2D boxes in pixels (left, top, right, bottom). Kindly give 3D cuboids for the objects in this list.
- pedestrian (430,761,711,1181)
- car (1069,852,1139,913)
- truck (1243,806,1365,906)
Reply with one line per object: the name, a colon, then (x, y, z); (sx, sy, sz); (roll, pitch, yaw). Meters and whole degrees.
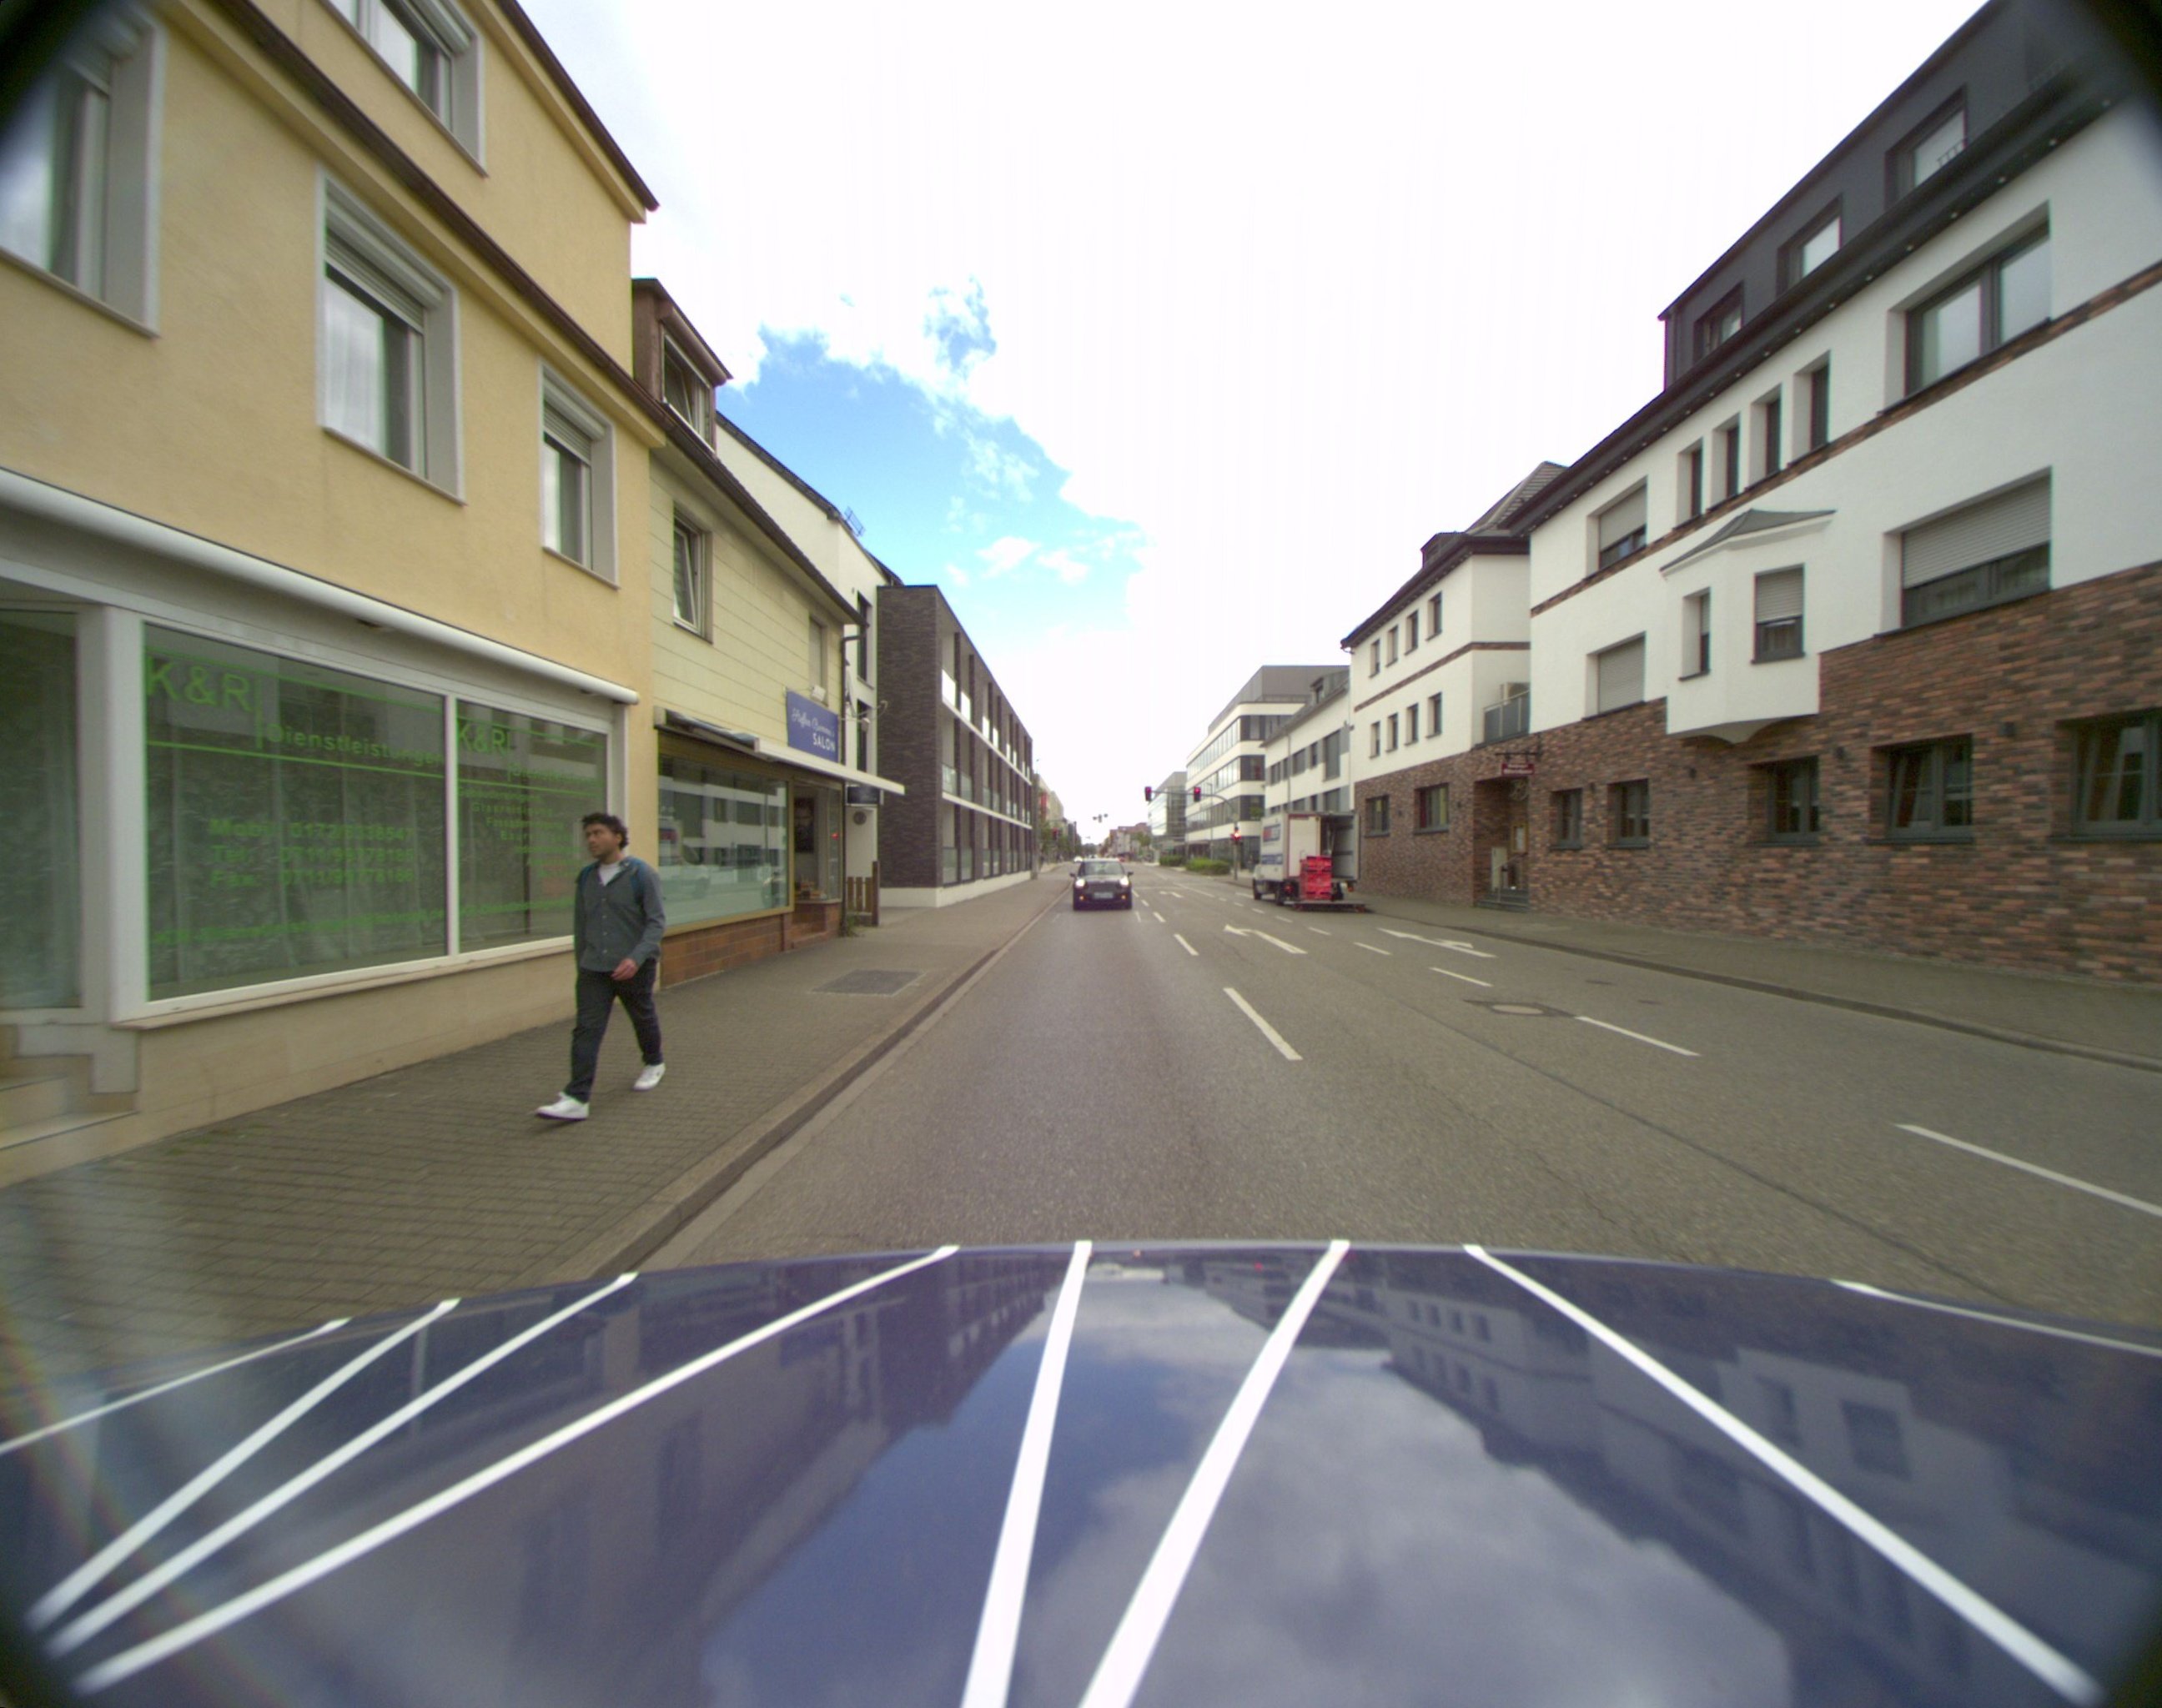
pedestrian: (-2.803, 0.577, 4.295); (0.826, 2.062, 1.011); (2, 1, 4)
car: (0.684, 0.782, 23.192); (1.847, 1.571, 4.429); (-3, 0, 2)
truck: (7.390, 0.045, 25.993); (2.468, 2.954, 5.965); (-2, 0, 2)
